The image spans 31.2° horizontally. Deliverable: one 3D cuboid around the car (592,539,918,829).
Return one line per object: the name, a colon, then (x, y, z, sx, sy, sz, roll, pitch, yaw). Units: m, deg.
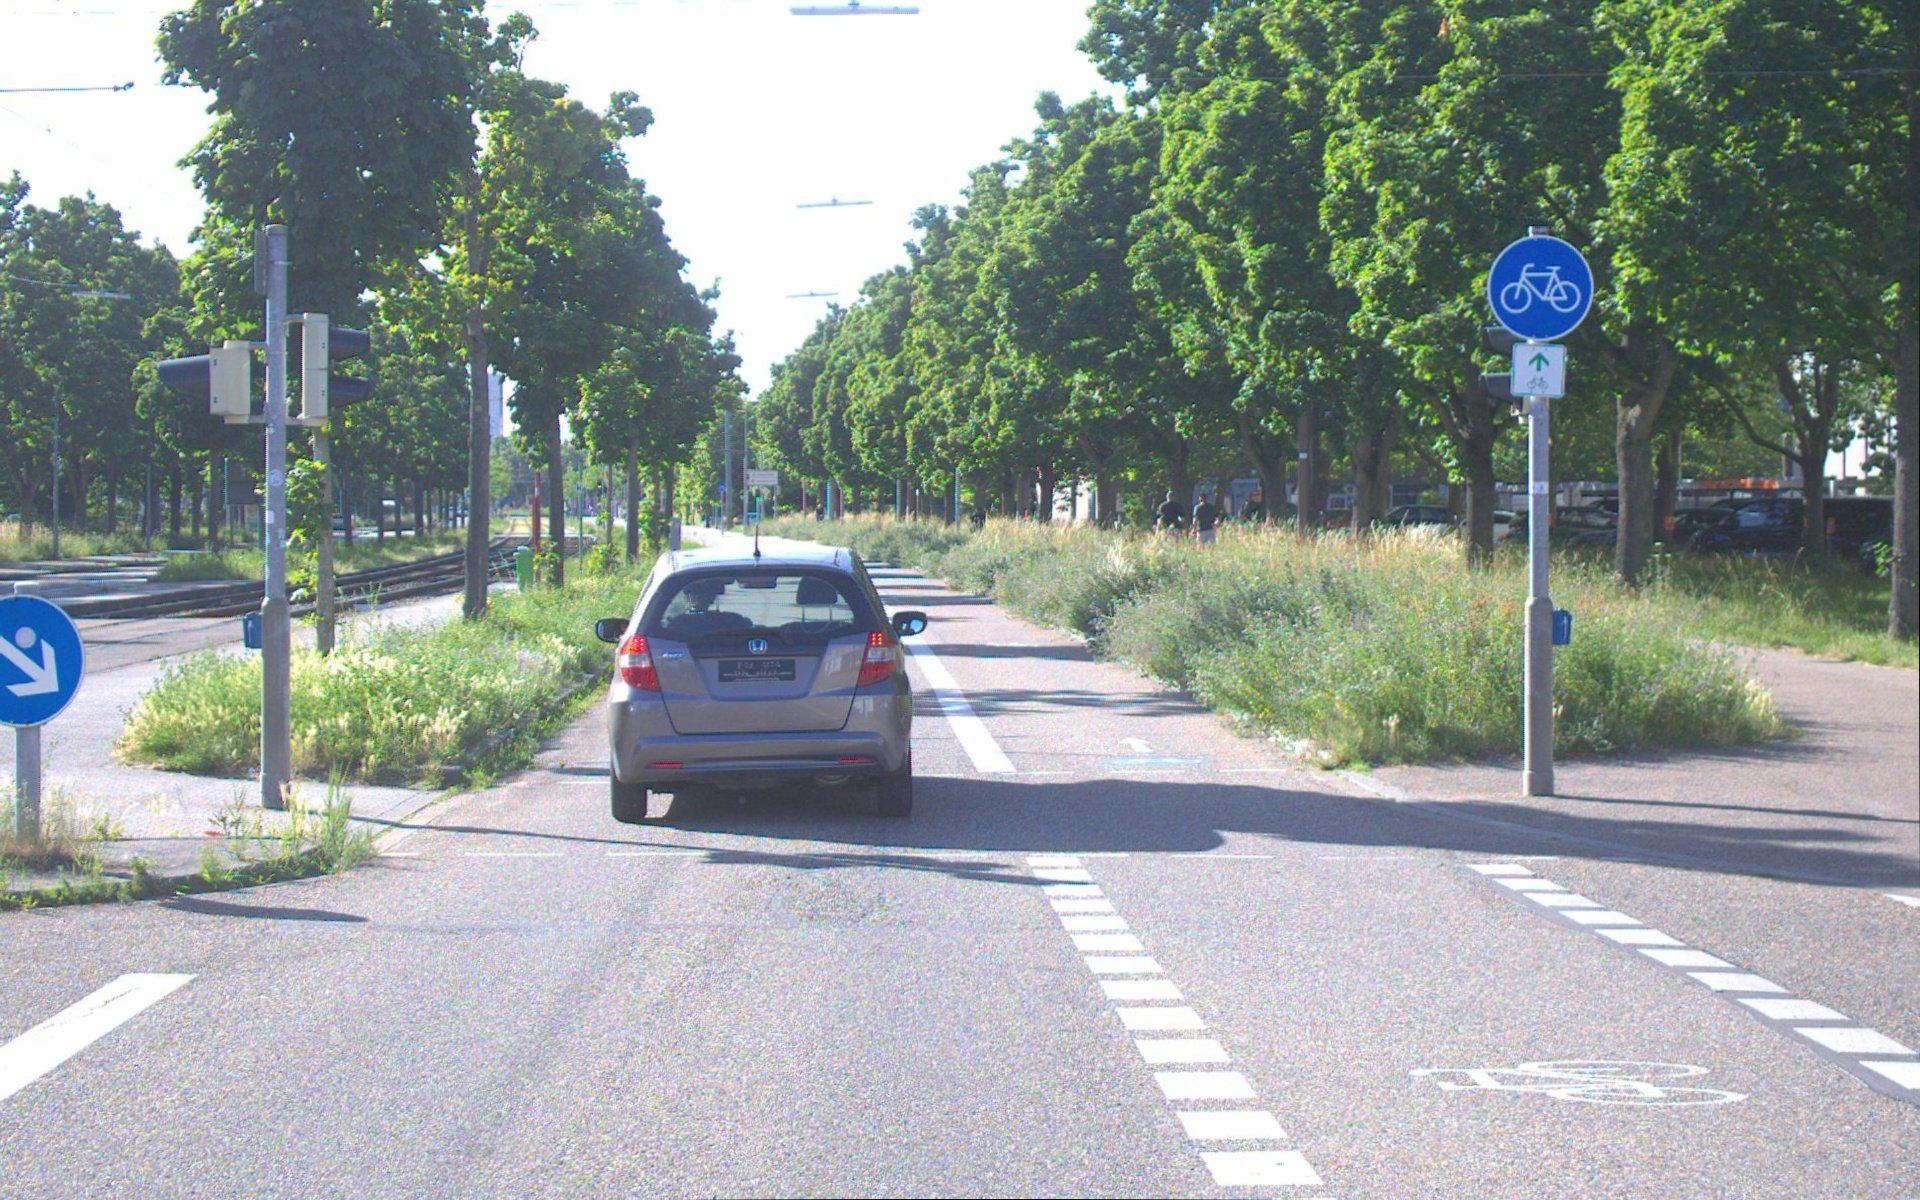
car: (-1.117, 0.445, 20.102, 1.701, 1.518, 3.709, 1, 0, -1)

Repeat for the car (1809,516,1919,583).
car: (19.599, -1.010, 68.690, 4.679, 1.322, 2.088, 1, 1, 34)

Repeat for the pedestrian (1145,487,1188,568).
pedestrian: (4.812, -1.687, 80.245, 0.882, 1.877, 0.875, 0, 1, -4)

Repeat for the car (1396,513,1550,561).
car: (16.775, -2.050, 112.487, 4.630, 1.550, 2.001, 0, 1, -7)

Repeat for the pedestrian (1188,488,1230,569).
pedestrian: (5.816, -1.668, 80.331, 0.882, 1.877, 0.875, 0, 1, -4)

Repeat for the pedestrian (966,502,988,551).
pedestrian: (0.587, -2.513, 118.167, 0.725, 1.685, 0.821, 0, 1, -3)
